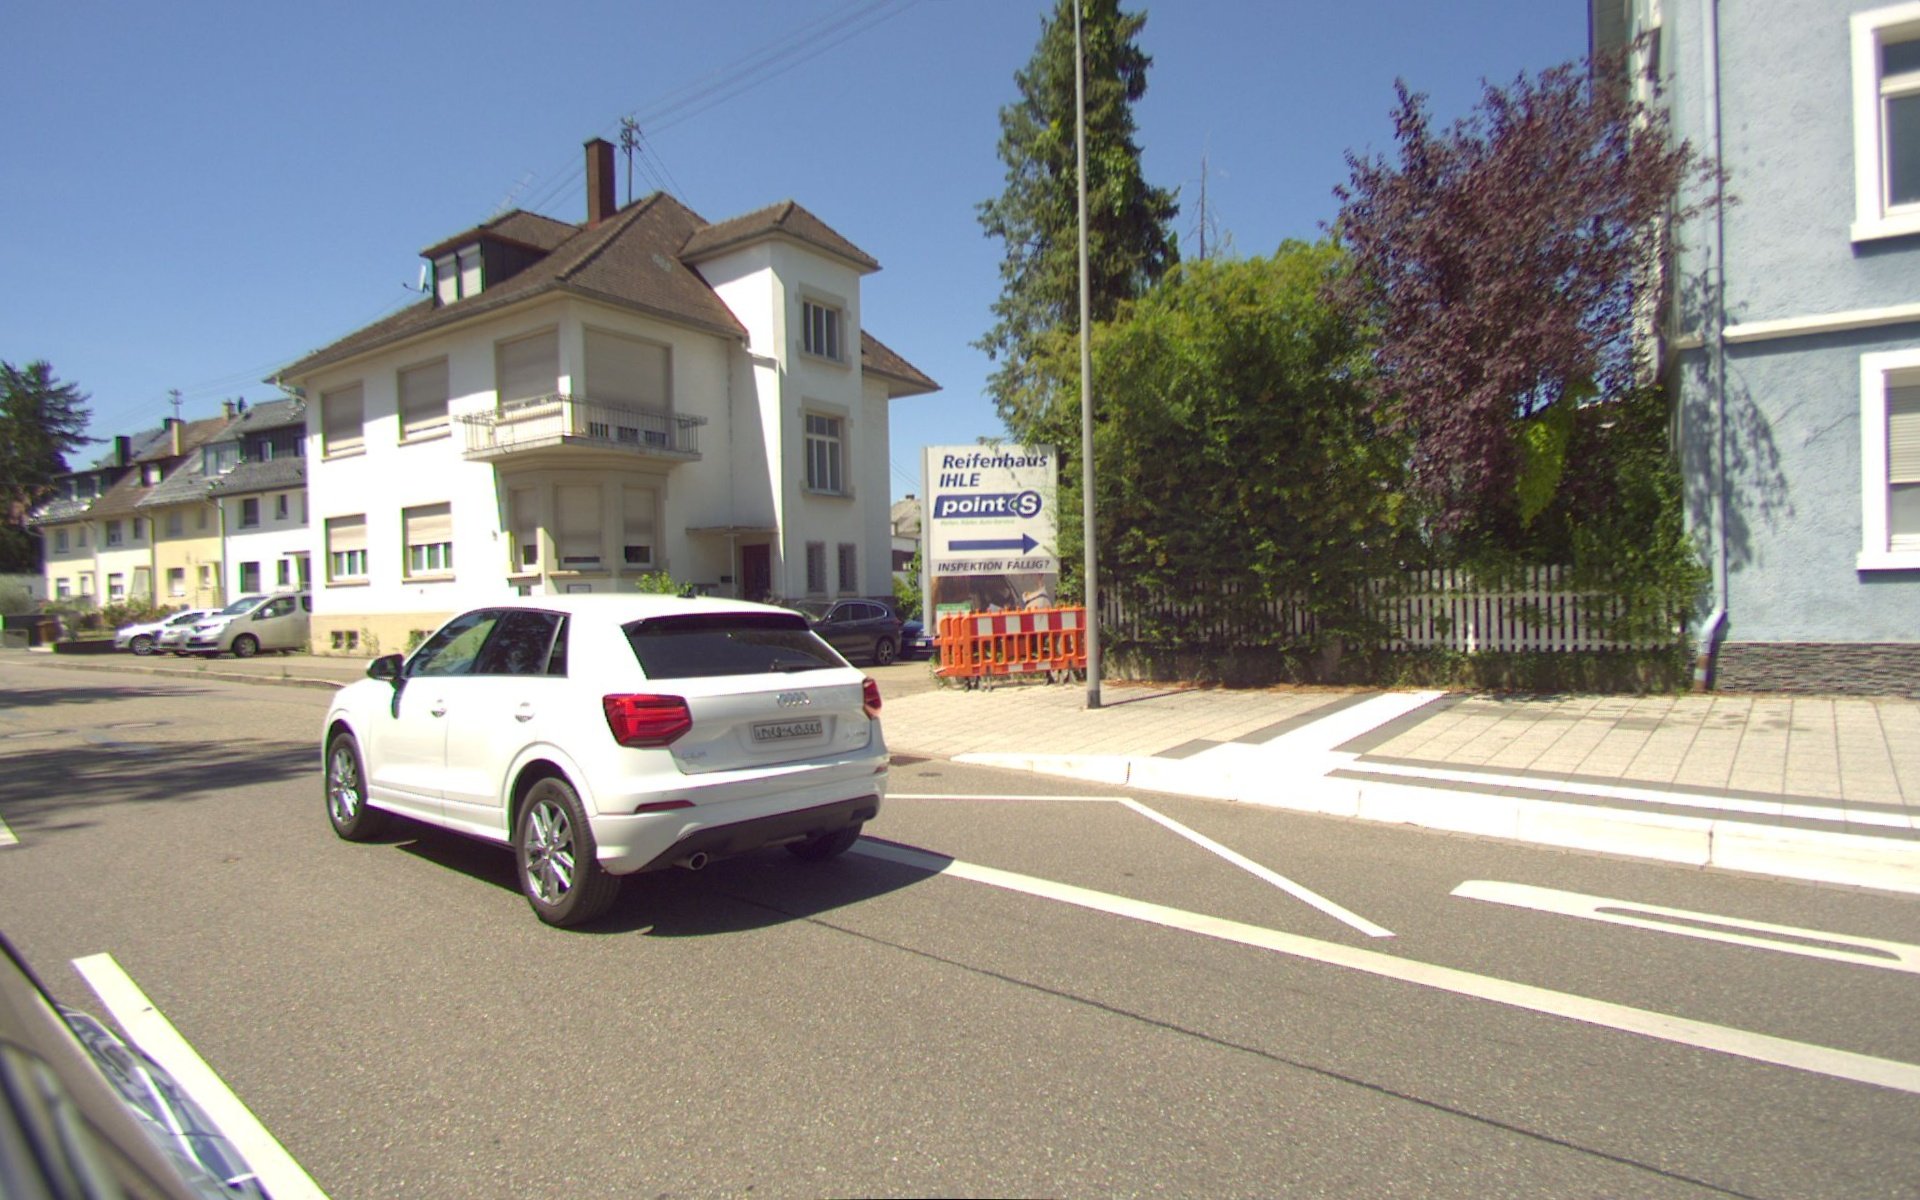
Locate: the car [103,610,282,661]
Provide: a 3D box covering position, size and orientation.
[{"bbox_3d":[-24.160,1.094,32.060,4.201,1.507,1.882,0,-2,-24],"label":"car"}]

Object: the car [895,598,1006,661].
[{"bbox_3d":[-0.187,0.768,28.056,1.555,1.551,3.902,-2,0,24],"label":"car"}]

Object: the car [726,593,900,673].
[{"bbox_3d":[-3.268,0.702,23.062,1.562,1.551,3.885,-5,-2,37],"label":"car"}]

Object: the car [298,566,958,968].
[{"bbox_3d":[-2.092,0.601,5.831,3.947,1.541,1.802,1,2,40],"label":"car"}]

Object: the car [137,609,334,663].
[{"bbox_3d":[-21.607,1.046,30.345,1.972,1.507,4.431,-2,-2,36],"label":"car"}]

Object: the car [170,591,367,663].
[{"bbox_3d":[-19.626,0.750,28.924,1.841,1.891,4.325,-1,-2,27],"label":"car"}]
